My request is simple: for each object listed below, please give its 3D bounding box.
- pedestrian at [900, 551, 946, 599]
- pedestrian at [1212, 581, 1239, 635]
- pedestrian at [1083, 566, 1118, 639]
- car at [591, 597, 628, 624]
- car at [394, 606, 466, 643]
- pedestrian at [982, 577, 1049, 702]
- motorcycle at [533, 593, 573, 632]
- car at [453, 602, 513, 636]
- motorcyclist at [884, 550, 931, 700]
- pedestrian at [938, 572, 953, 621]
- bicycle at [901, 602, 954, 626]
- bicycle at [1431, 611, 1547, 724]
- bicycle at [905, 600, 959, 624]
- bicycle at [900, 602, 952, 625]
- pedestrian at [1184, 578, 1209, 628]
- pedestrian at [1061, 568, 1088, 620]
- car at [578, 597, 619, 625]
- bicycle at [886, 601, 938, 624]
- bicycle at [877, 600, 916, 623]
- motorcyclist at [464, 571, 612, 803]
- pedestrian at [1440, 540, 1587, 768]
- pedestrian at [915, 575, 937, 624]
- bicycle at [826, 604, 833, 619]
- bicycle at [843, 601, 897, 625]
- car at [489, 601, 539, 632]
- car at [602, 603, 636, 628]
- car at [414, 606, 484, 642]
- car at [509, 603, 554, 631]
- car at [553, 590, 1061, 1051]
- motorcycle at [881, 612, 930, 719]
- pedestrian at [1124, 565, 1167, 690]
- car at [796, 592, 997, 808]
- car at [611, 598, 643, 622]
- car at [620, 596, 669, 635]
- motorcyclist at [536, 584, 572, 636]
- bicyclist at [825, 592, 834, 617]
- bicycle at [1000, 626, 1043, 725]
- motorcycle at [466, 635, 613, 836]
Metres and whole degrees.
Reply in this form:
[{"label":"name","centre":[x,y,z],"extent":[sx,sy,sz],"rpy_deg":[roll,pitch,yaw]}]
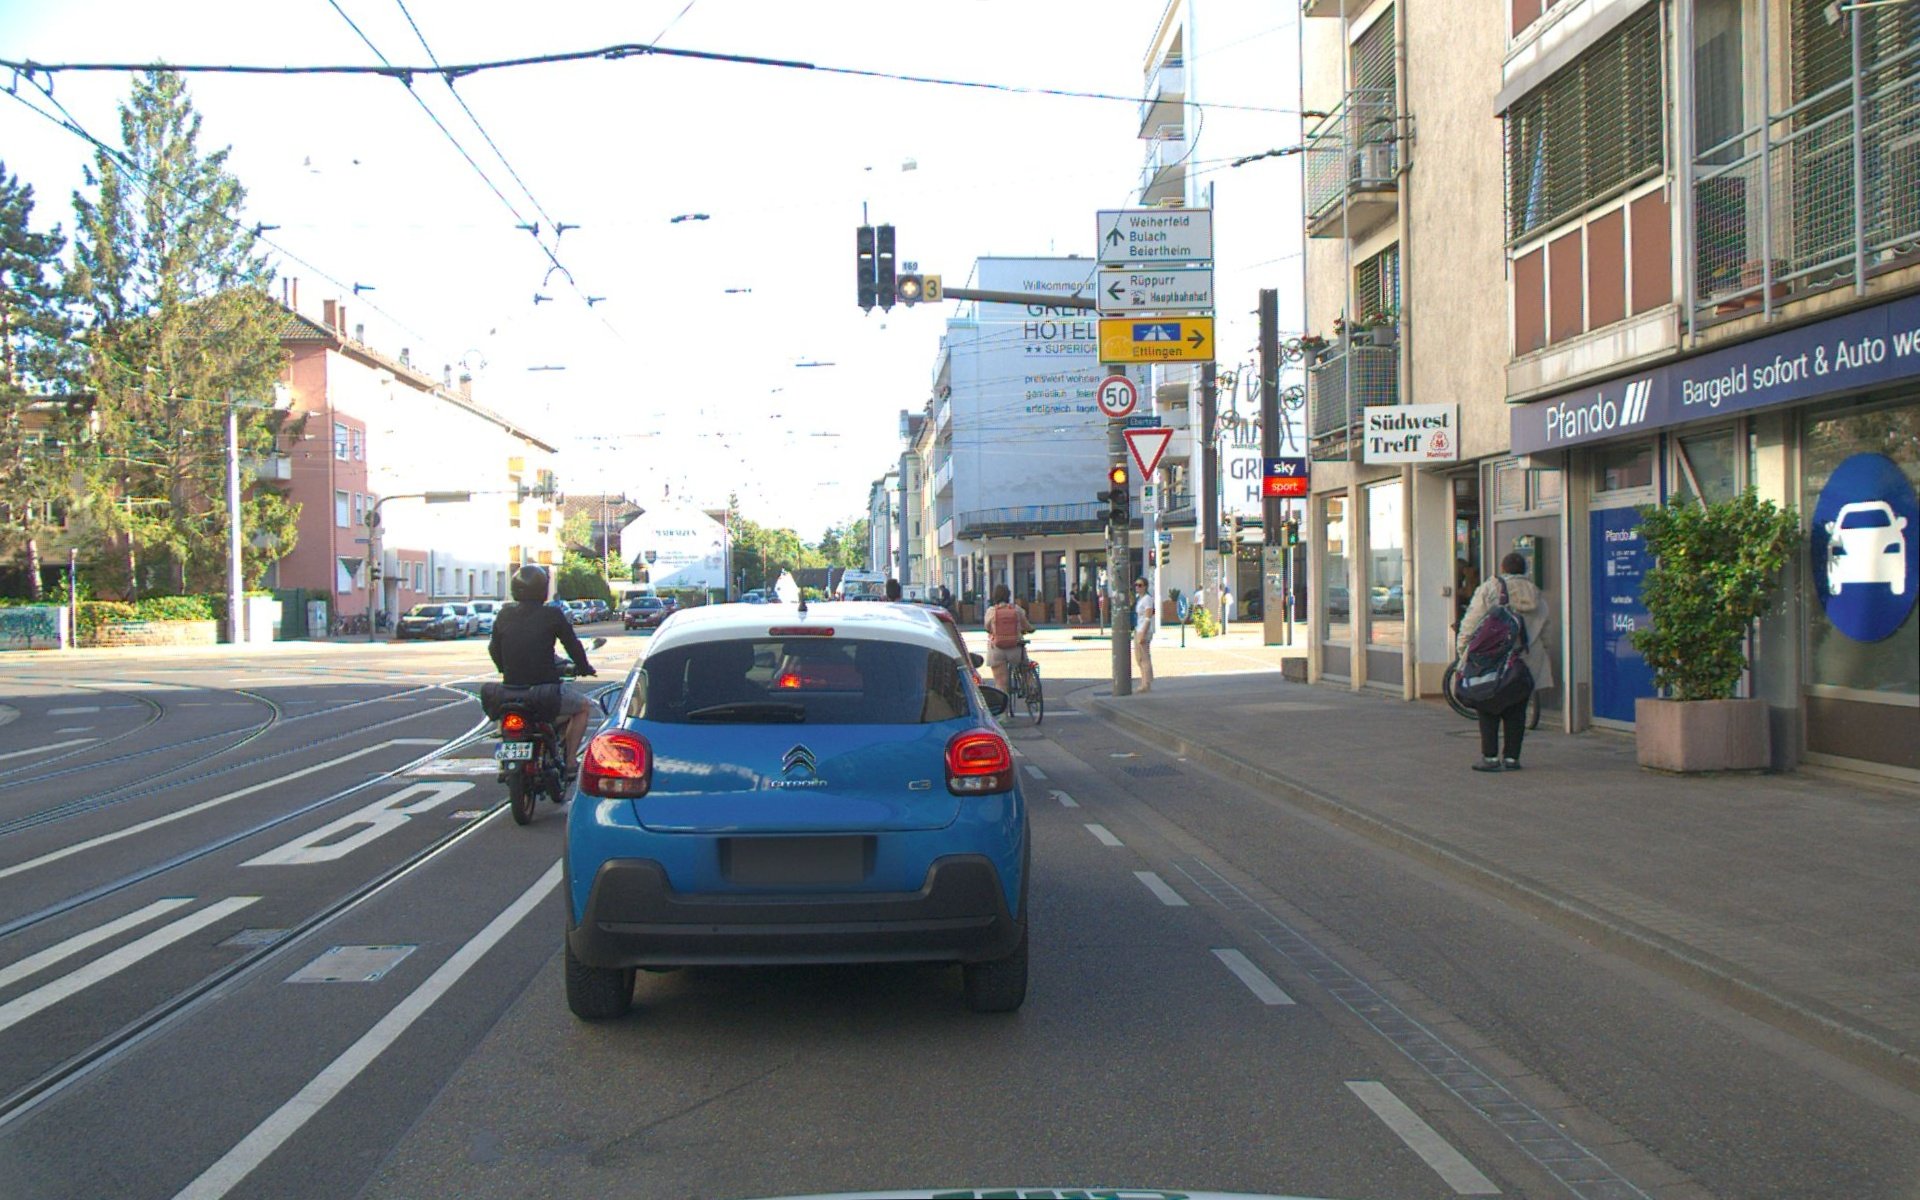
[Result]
[{"label":"pedestrian","centre":[-1.611,-1.077,73.524],"extent":[1.953,2.049,3.999],"rpy_deg":[1,0,-1]},{"label":"pedestrian","centre":[8.375,0.258,52.133],"extent":[0.736,1.686,0.884],"rpy_deg":[1,-1,15]},{"label":"pedestrian","centre":[3.981,0.075,46.951],"extent":[0.907,2.049,0.759],"rpy_deg":[1,-1,-1]},{"label":"car","centre":[-23.516,0.690,111.150],"extent":[1.845,1.716,3.997],"rpy_deg":[1,0,-4]},{"label":"car","centre":[-21.909,0.983,68.461],"extent":[1.757,1.446,3.994],"rpy_deg":[1,0,-2]},{"label":"pedestrian","centre":[0.670,0.478,20.237],"extent":[0.761,1.486,0.681],"rpy_deg":[1,-1,-1]},{"label":"motorcycle","centre":[-16.421,0.489,66.786],"extent":[0.905,1.512,3.723],"rpy_deg":[1,0,-4]},{"label":"car","centre":[-22.722,0.888,78.973],"extent":[1.751,1.537,4.148],"rpy_deg":[1,0,-2]},{"label":"motorcyclist","centre":[-0.618,0.293,19.606],"extent":[0.516,1.746,0.717],"rpy_deg":[1,-1,-1]},{"label":"pedestrian","centre":[-0.603,-0.153,70.245],"extent":[0.565,2.049,0.625],"rpy_deg":[1,-1,-3]},{"label":"bicycle","centre":[-1.310,0.576,67.064],"extent":[2.093,0.917,0.366],"rpy_deg":[1,-1,-10]},{"label":"bicycle","centre":[5.038,0.615,15.843],"extent":[0.531,1.016,1.705],"rpy_deg":[1,0,-1]},{"label":"bicycle","centre":[-1.111,0.488,65.949],"extent":[2.093,0.917,0.366],"rpy_deg":[1,-1,-10]},{"label":"bicycle","centre":[-1.387,0.555,67.480],"extent":[2.093,0.917,0.366],"rpy_deg":[1,-1,-10]},{"label":"pedestrian","centre":[7.755,0.097,54.243],"extent":[0.720,1.629,0.749],"rpy_deg":[1,-1,12]},{"label":"pedestrian","centre":[4.534,-0.226,65.449],"extent":[0.745,2.049,0.708],"rpy_deg":[0,-1,40]},{"label":"car","centre":[-23.148,0.709,105.974],"extent":[1.944,1.716,3.997],"rpy_deg":[1,0,-4]},{"label":"bicycle","centre":[-1.976,0.508,68.309],"extent":[2.093,0.917,0.366],"rpy_deg":[1,-1,-10]},{"label":"bicycle","centre":[-2.659,0.488,69.293],"extent":[1.751,0.917,0.365],"rpy_deg":[1,-1,34]},{"label":"motorcyclist","centre":[-2.878,0.580,11.335],"extent":[0.843,1.531,0.598],"rpy_deg":[1,-1,-1]},{"label":"pedestrian","centre":[4.068,0.388,12.194],"extent":[0.808,1.620,0.751],"rpy_deg":[1,-1,-1]},{"label":"pedestrian","centre":[-1.417,-0.013,69.194],"extent":[0.625,2.049,0.715],"rpy_deg":[1,-1,-37]},{"label":"bicycle","centre":[-8.099,0.713,102.751],"extent":[0.342,0.919,1.858],"rpy_deg":[1,0,-2]},{"label":"bicycle","centre":[-3.604,0.533,66.123],"extent":[2.093,0.917,0.366],"rpy_deg":[1,-1,-10]},{"label":"car","centre":[-23.172,0.841,86.043],"extent":[1.750,1.524,3.997],"rpy_deg":[1,0,-4]},{"label":"car","centre":[-23.974,1.062,116.349],"extent":[1.797,1.716,3.997],"rpy_deg":[1,0,-4]},{"label":"car","centre":[-22.485,1.045,72.887],"extent":[1.778,1.524,4.299],"rpy_deg":[1,0,-1]},{"label":"car","centre":[-23.745,0.924,91.718],"extent":[1.699,1.524,3.996],"rpy_deg":[1,0,-5]},{"label":"car","centre":[-0.517,0.725,7.126],"extent":[1.620,1.469,3.522],"rpy_deg":[1,0,-1]},{"label":"motorcycle","centre":[-0.626,0.734,19.416],"extent":[0.515,1.159,2.289],"rpy_deg":[1,0,-1]},{"label":"pedestrian","centre":[2.722,0.398,24.291],"extent":[0.507,1.814,0.595],"rpy_deg":[1,-1,-3]},{"label":"car","centre":[-0.468,0.714,13.162],"extent":[1.395,1.493,2.923],"rpy_deg":[-1,0,-1]},{"label":"car","centre":[-24.338,0.717,120.953],"extent":[1.809,1.716,3.871],"rpy_deg":[1,0,-4]},{"label":"car","centre":[-14.502,0.695,76.134],"extent":[1.740,1.695,3.853],"rpy_deg":[1,0,-4]},{"label":"motorcyclist","centre":[-16.421,0.410,66.917],"extent":[1.162,2.049,1.274],"rpy_deg":[-1,0,-4]},{"label":"bicyclist","centre":[-8.100,0.292,102.679],"extent":[0.549,1.503,0.747],"rpy_deg":[1,-1,-2]},{"label":"bicycle","centre":[0.753,0.908,20.542],"extent":[0.419,1.142,1.998],"rpy_deg":[1,0,-1]},{"label":"motorcycle","centre":[-2.882,0.881,11.509],"extent":[0.526,1.240,1.980],"rpy_deg":[1,0,-1]}]
